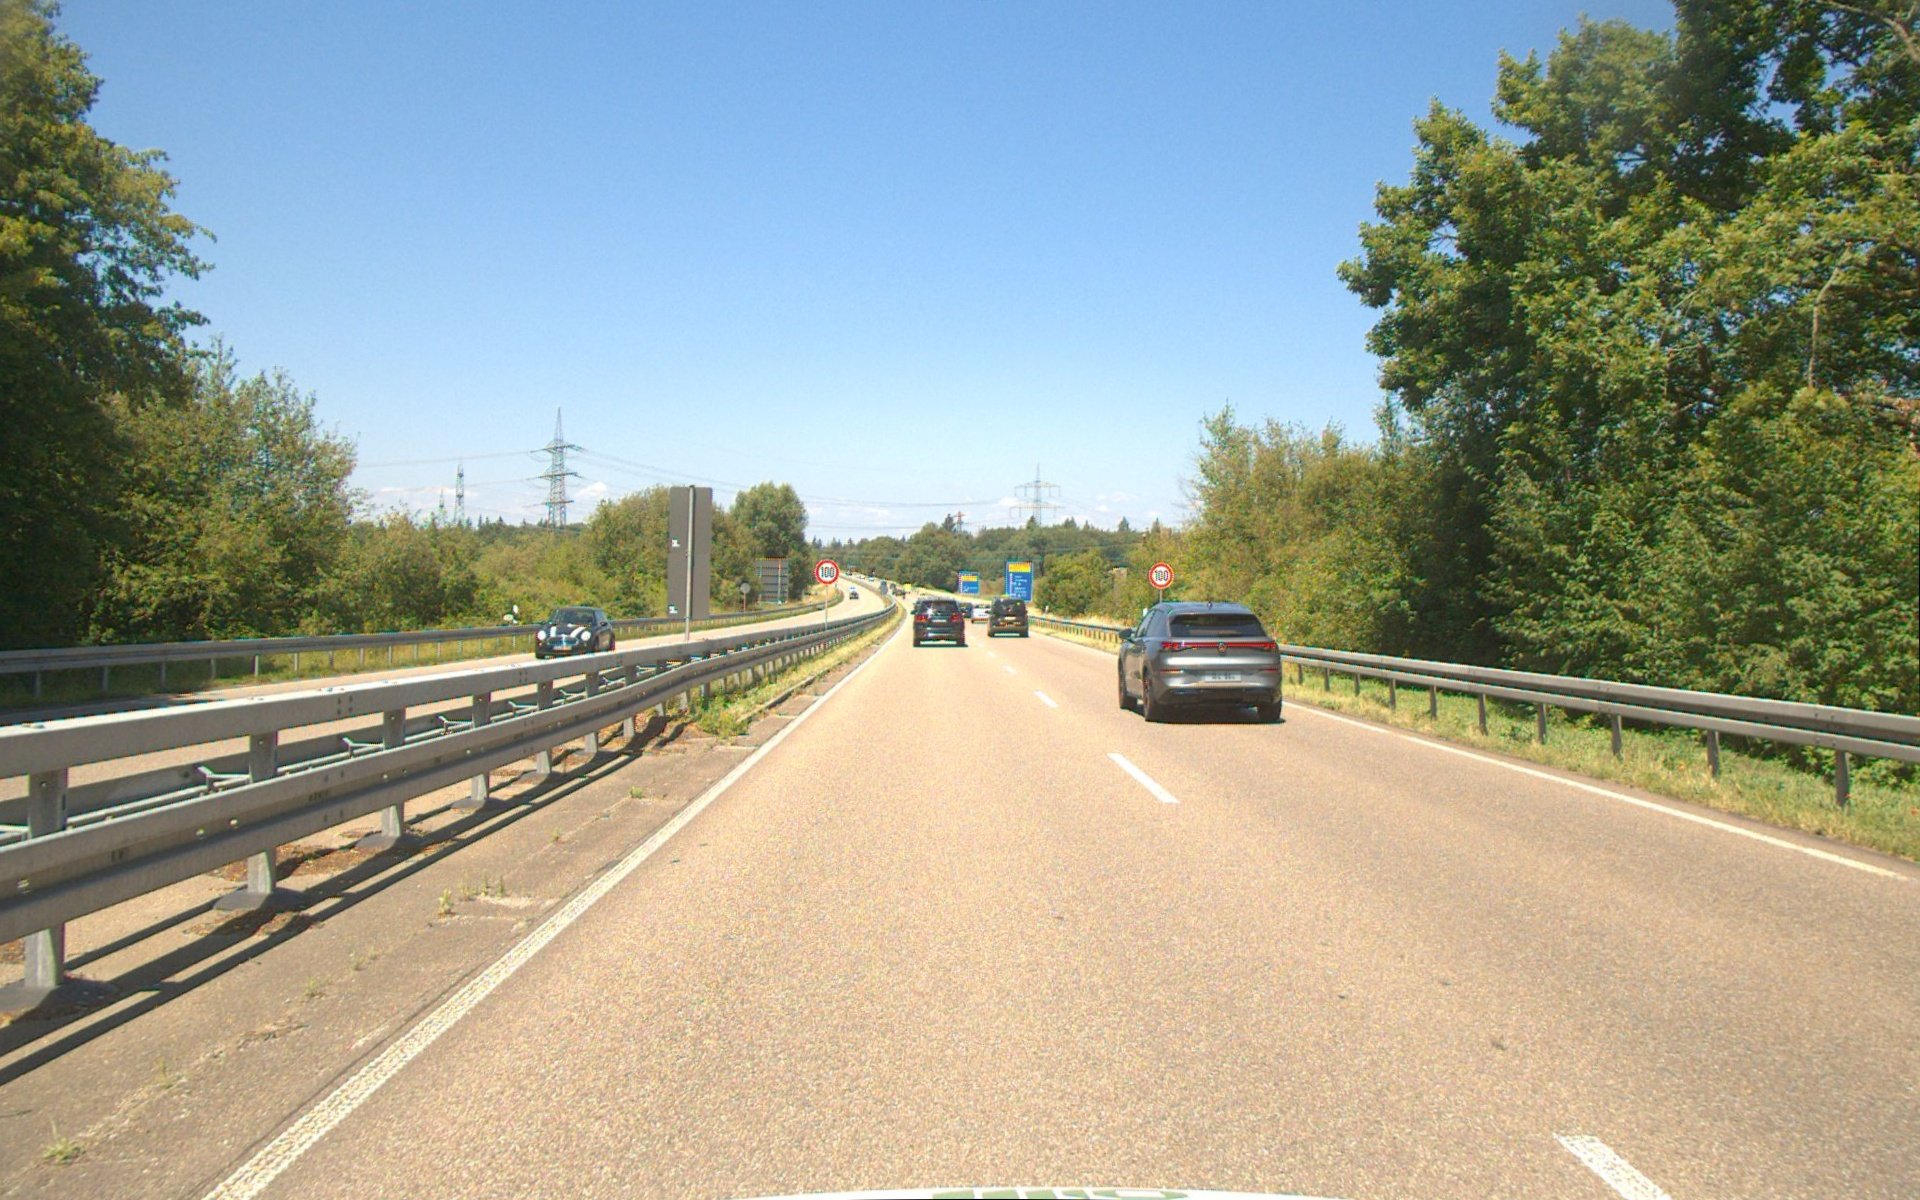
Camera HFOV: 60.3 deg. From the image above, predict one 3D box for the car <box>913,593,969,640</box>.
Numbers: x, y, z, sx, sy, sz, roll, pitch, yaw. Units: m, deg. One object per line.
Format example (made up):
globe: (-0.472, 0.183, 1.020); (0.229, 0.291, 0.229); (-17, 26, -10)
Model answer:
car: (-0.733, 0.589, 60.962); (1.954, 1.683, 3.998); (0, 0, -3)

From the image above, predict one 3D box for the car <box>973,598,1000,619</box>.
car: (1.964, 0.642, 122.107); (1.743, 1.505, 4.313); (0, 0, -3)

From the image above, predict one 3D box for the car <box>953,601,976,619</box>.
car: (0.328, 0.800, 135.963); (1.783, 1.439, 3.999); (0, 1, -2)

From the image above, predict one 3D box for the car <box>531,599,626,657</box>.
car: (-10.680, 0.754, 46.503); (1.761, 1.493, 3.773); (2, 0, 0)

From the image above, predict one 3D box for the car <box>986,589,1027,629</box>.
car: (2.146, 0.411, 77.593); (1.744, 1.848, 4.212); (0, 0, -1)

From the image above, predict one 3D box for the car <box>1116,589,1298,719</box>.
car: (3.287, 0.660, 22.724); (1.749, 1.580, 4.018); (-1, 1, -2)

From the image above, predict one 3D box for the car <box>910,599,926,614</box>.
car: (-4.491, 0.712, 176.939); (1.484, 1.500, 3.064); (3, 1, -3)
